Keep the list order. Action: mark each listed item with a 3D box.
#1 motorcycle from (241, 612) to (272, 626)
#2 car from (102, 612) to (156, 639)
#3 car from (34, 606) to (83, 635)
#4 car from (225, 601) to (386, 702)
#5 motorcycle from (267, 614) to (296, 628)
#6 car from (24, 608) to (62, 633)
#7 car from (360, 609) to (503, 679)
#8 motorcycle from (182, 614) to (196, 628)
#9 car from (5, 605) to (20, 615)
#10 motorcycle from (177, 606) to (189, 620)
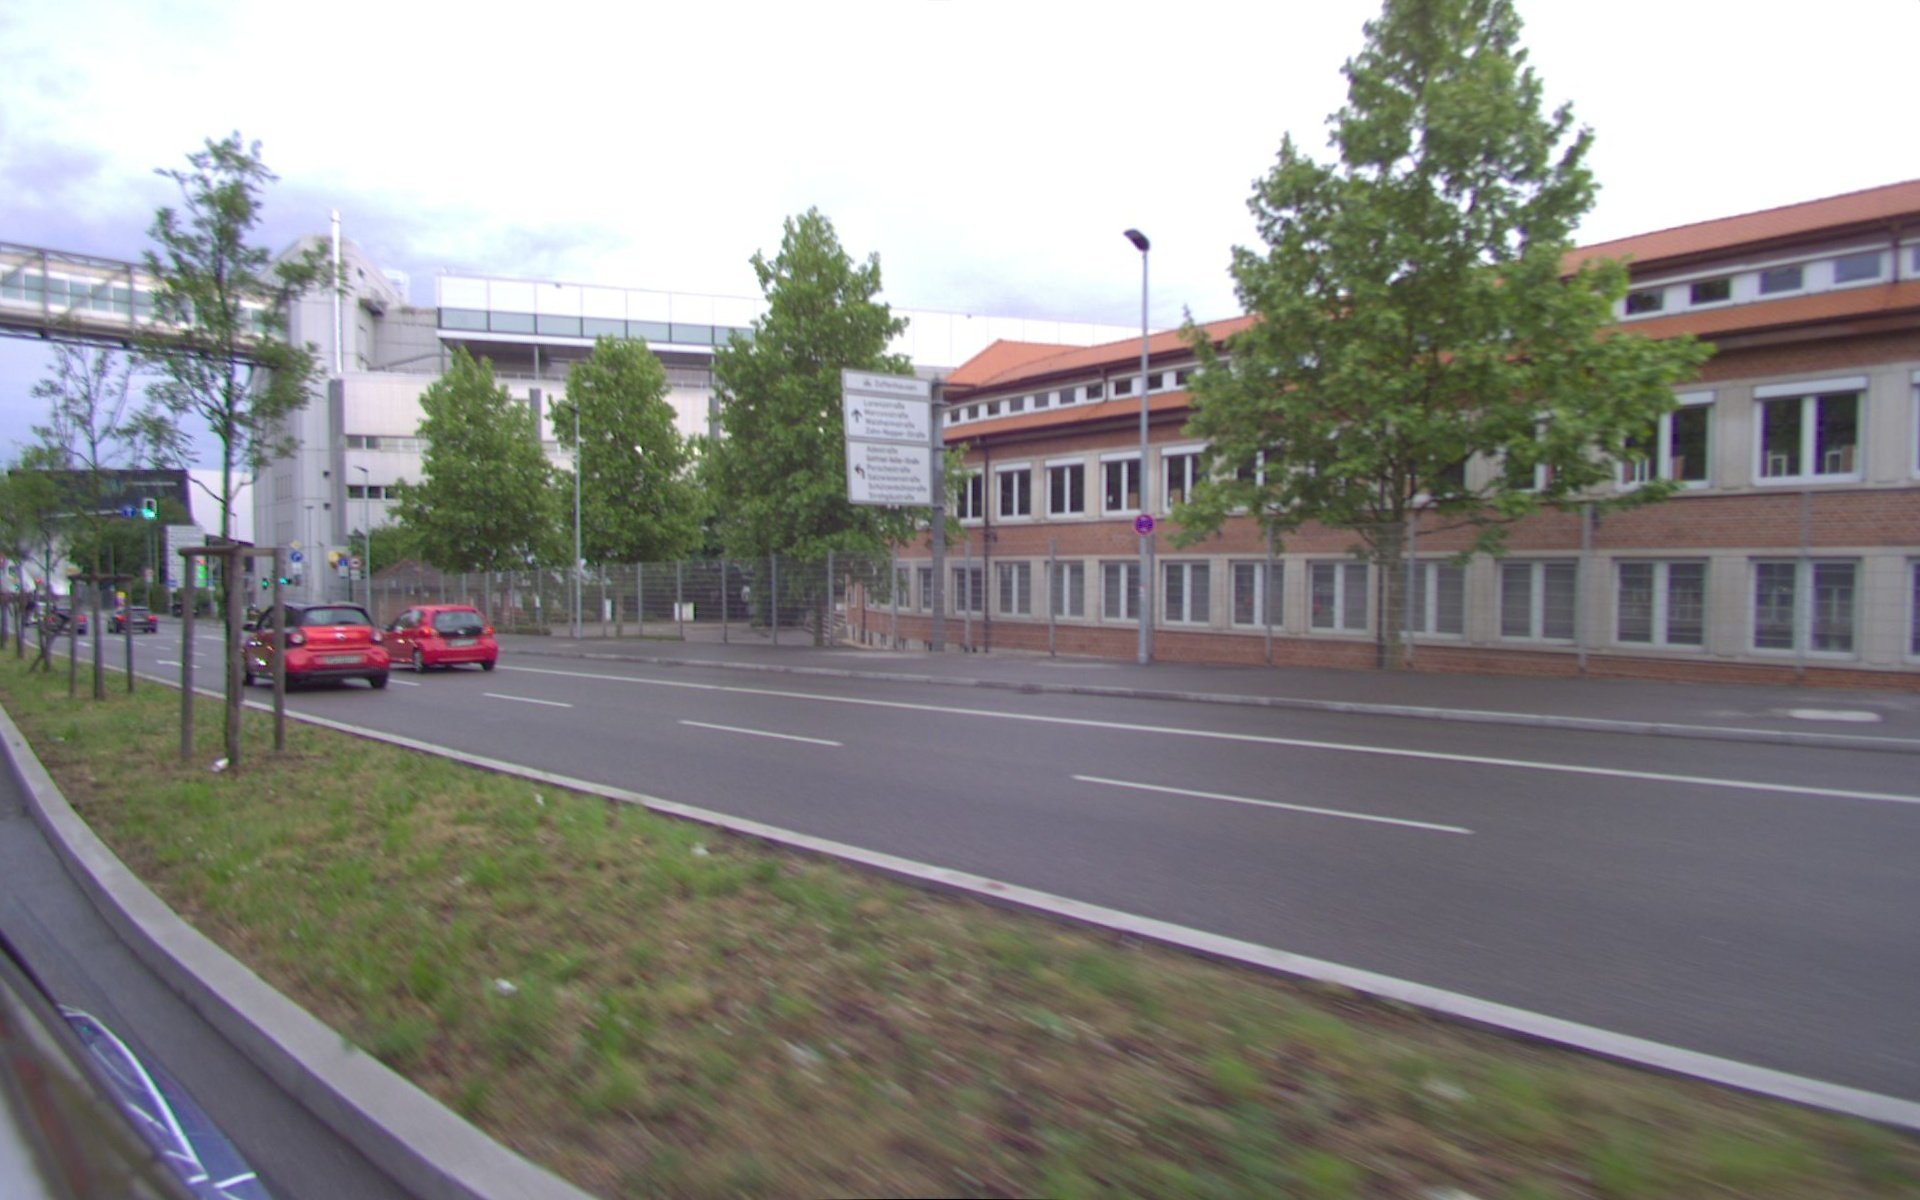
[{"bbox_3d":[-54.035,1.480,77.754,2.146,1.035,0.625,0,0,9],"label":"motorcycle"},{"bbox_3d":[-44.582,1.334,54.274,4.616,1.414,1.753,-1,-1,44],"label":"car"},{"bbox_3d":[-45.786,1.020,51.375,4.113,1.414,1.560,-1,-1,44],"label":"car"},{"bbox_3d":[-11.772,0.859,18.109,3.856,1.617,1.567,-1,-1,44],"label":"car"},{"bbox_3d":[-51.812,1.580,77.236,2.152,1.035,0.623,0,0,17],"label":"motorcycle"},{"bbox_3d":[-61.470,1.364,67.807,1.751,1.601,4.488,0,0,-44],"label":"car"},{"bbox_3d":[-12.000,0.947,22.907,3.772,1.448,1.696,-1,-1,43],"label":"car"},{"bbox_3d":[-63.663,1.729,83.596,2.039,1.171,0.561,0,0,43],"label":"motorcycle"},{"bbox_3d":[-162.099,1.719,173.061,1.751,1.601,4.488,0,0,-44],"label":"car"},{"bbox_3d":[-68.789,1.153,89.618,0.617,1.224,1.969,0,0,-45],"label":"motorcycle"}]
